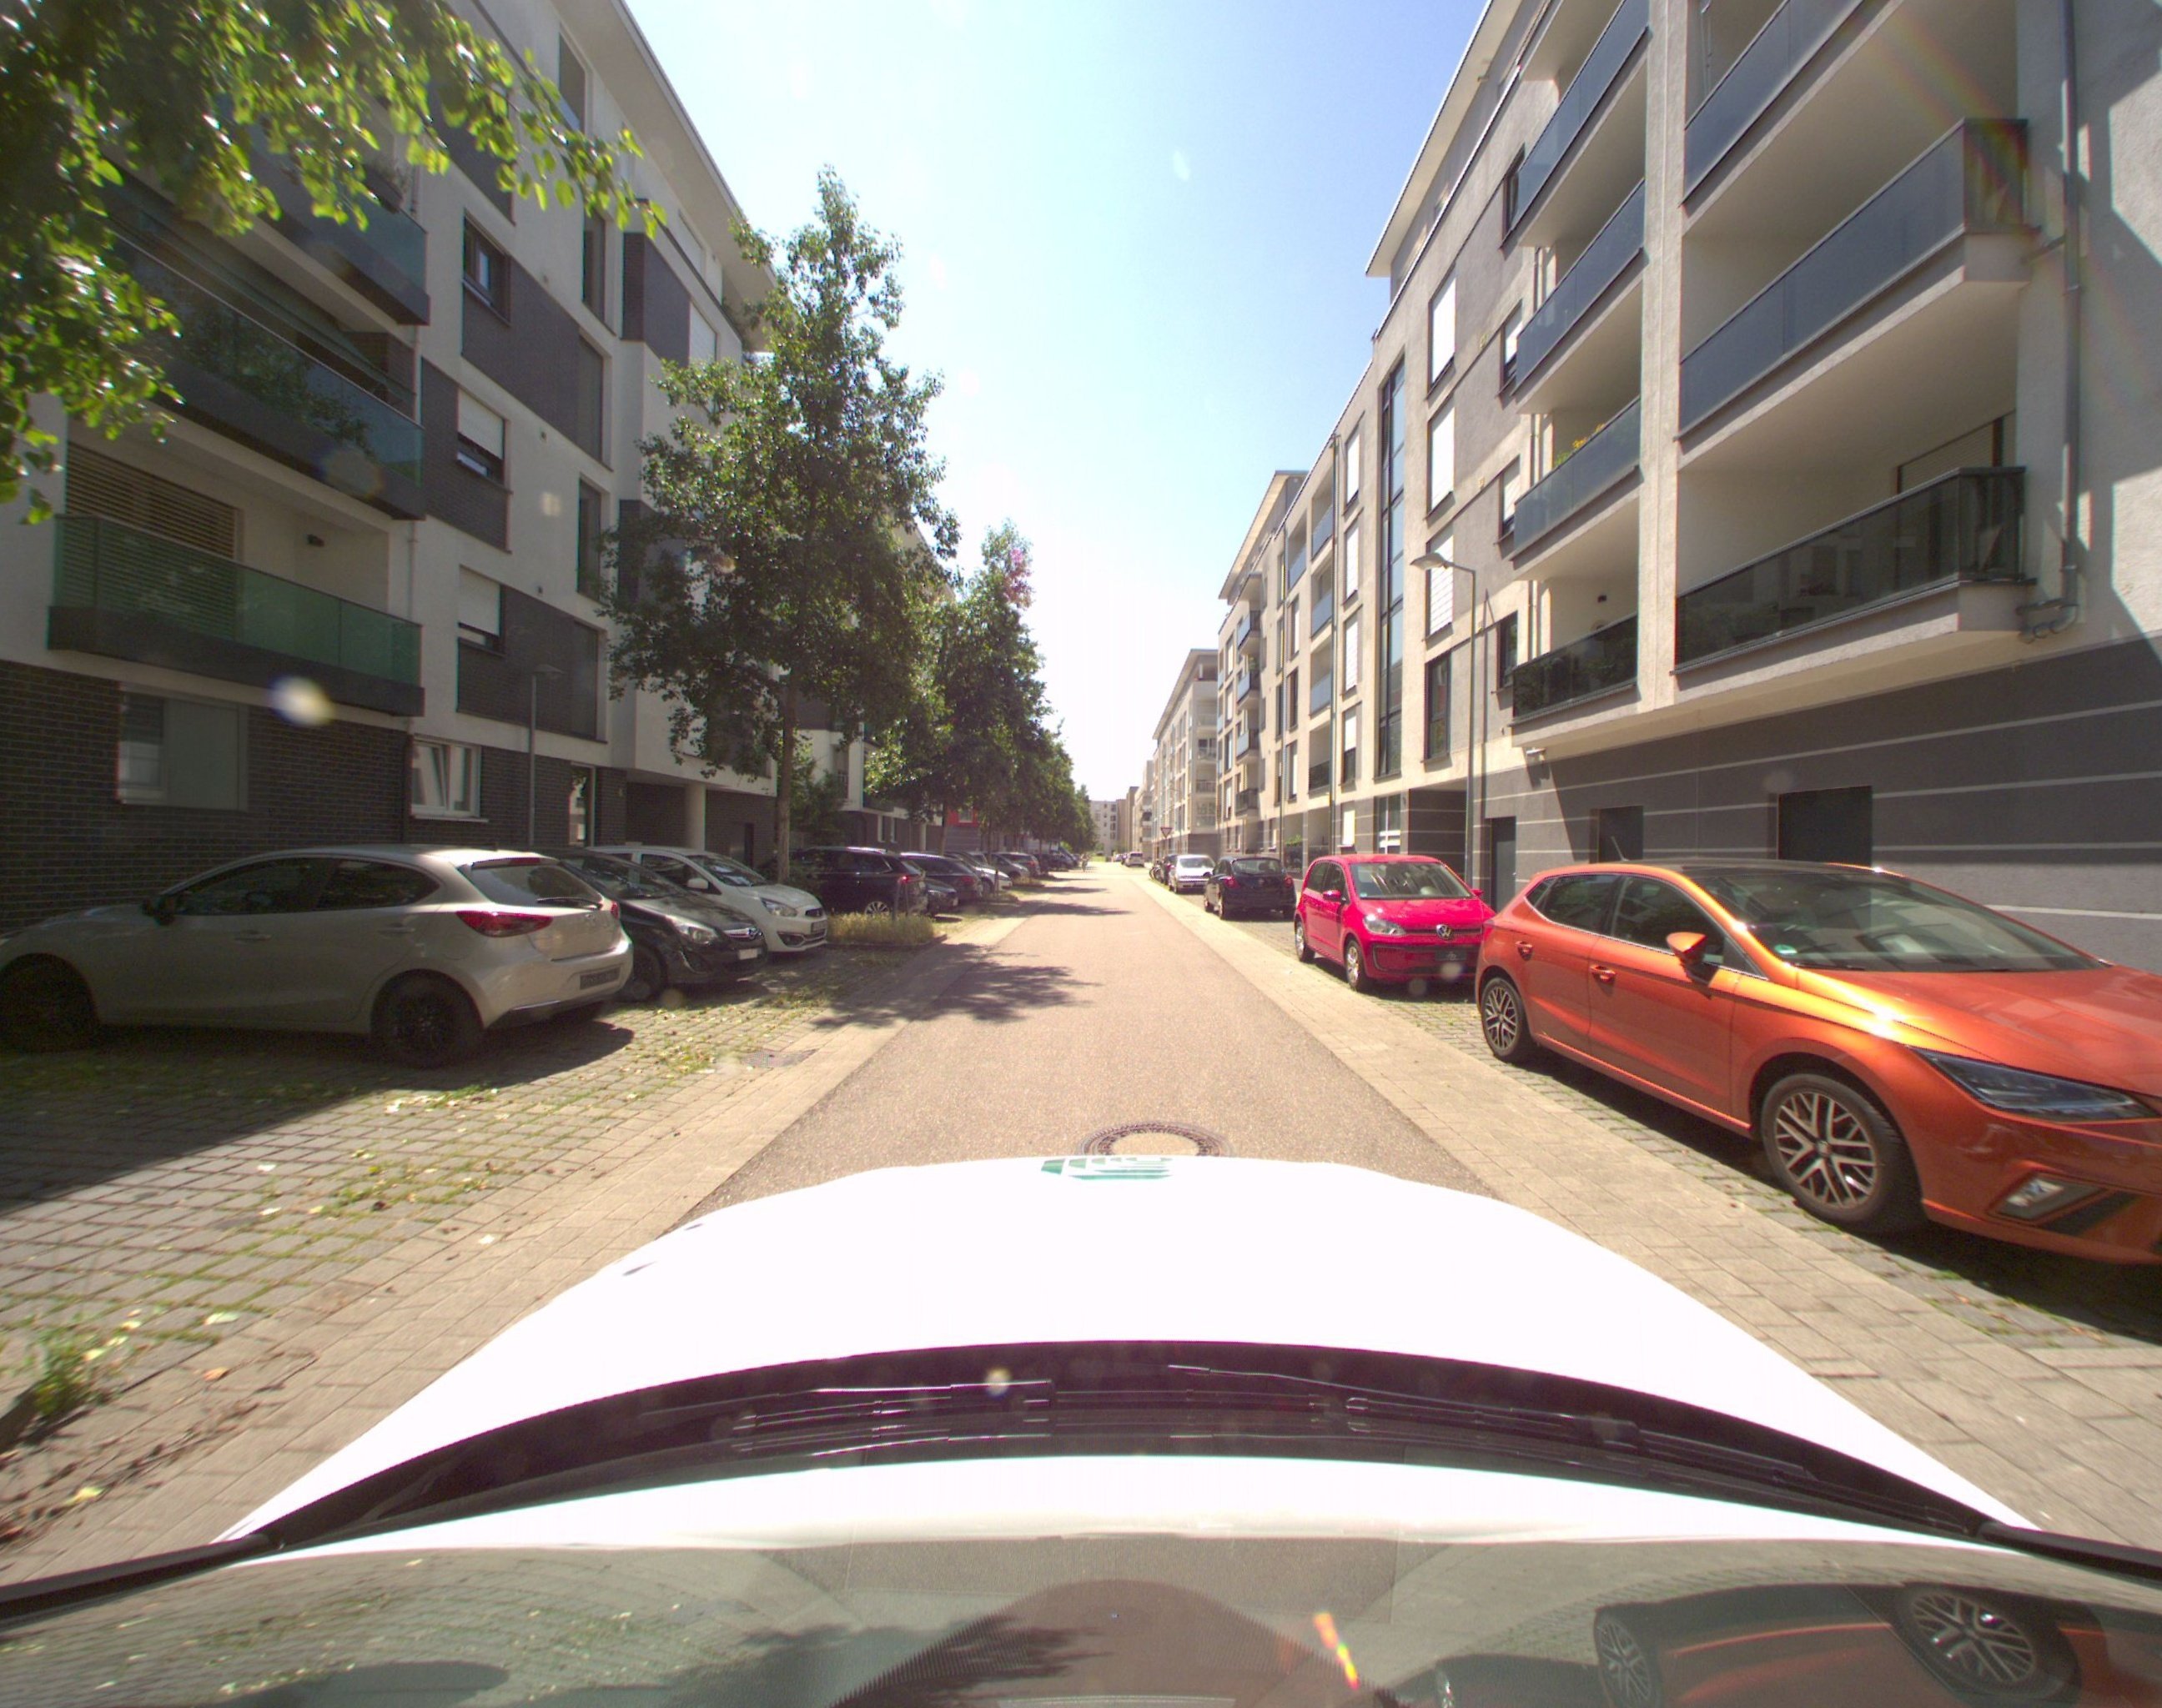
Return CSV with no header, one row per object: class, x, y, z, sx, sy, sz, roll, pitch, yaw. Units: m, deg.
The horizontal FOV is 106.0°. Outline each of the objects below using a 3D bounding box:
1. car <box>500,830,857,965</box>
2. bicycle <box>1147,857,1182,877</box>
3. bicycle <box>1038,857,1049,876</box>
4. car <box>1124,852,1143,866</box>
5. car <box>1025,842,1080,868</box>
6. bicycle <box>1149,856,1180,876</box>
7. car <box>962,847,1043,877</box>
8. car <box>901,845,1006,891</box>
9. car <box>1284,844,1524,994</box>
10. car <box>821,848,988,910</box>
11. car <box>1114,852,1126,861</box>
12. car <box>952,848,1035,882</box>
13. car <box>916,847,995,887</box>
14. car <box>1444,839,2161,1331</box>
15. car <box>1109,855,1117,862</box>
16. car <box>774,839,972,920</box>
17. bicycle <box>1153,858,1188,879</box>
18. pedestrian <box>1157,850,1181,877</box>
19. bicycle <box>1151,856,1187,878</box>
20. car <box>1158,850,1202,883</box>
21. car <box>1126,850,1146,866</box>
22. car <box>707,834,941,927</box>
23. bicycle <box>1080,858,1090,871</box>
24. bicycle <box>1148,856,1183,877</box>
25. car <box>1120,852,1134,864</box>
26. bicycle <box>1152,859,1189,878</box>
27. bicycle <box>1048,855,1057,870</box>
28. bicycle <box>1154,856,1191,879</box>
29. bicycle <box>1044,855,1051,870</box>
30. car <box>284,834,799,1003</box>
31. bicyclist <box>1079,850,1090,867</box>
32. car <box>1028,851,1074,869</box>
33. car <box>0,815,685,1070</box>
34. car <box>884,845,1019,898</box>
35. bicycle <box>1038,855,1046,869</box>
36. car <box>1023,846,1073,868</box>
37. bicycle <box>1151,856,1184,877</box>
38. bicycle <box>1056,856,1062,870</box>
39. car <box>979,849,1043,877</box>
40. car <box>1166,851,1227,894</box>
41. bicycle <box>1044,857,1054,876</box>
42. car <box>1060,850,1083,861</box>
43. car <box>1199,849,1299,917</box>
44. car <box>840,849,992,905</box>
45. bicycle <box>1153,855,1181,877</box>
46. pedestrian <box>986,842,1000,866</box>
car,-5.429,0.550,11.381,3.972,1.591,1.884,2,0,1
bicycle,4.768,0.731,46.306,1.911,1.133,0.611,-1,0,10
bicycle,-2.369,0.783,51.332,0.434,1.128,1.971,0,0,-10
car,5.966,0.541,92.753,1.986,1.524,4.002,0,0,2
car,-3.211,0.094,92.613,6.002,2.816,2.606,0,0,1
bicycle,4.940,0.711,48.302,1.851,1.193,0.688,-1,0,4
car,-4.197,0.422,43.952,4.170,1.486,1.957,1,-1,-3
car,-4.769,0.512,30.890,3.701,1.586,1.818,2,0,-4
car,3.747,0.656,10.133,1.589,1.485,3.677,-1,0,2
car,-4.508,0.634,21.317,3.965,1.445,1.774,2,0,-3
car,7.426,0.461,155.718,1.987,1.675,4.000,0,0,0
car,-4.370,0.531,41.054,3.924,1.553,1.872,2,0,0
car,-5.193,0.517,33.900,2.923,1.500,1.848,3,0,0
car,3.813,0.688,4.595,1.731,1.487,4.260,-1,0,2
car,7.757,1.088,197.018,1.987,1.519,4.000,0,0,0
car,-4.693,0.558,18.809,3.971,1.651,1.920,2,0,3
bicycle,4.838,0.752,43.999,1.782,1.104,0.746,-1,0,-3
pedestrian,4.893,0.529,45.482,1.178,1.515,0.686,-1,0,-9
bicycle,4.889,0.722,45.355,1.922,1.218,0.459,-1,0,-8
car,4.755,0.571,39.607,1.732,1.485,4.230,-1,0,1
car,5.896,0.431,87.051,1.990,1.657,4.117,0,0,2
car,-5.005,0.495,16.287,3.973,1.629,1.934,2,0,1
bicycle,0.362,0.939,72.810,0.895,1.129,2.040,0,0,1
bicycle,4.882,0.716,46.910,1.911,1.179,0.640,-1,0,10
car,6.068,0.515,107.166,1.749,1.552,4.005,1,0,5
bicycle,4.906,0.797,44.692,1.918,1.035,0.559,-1,0,-3
bicycle,-2.455,0.732,69.853,0.569,1.174,1.765,3,1,-5
bicycle,4.828,0.719,43.252,1.865,1.218,0.715,-1,0,-3
bicycle,-2.887,0.698,69.865,0.432,1.204,1.701,2,1,2
car,-5.553,0.617,8.796,4.301,1.476,1.793,2,0,1
bicyclist,0.313,0.413,72.753,0.950,1.459,0.800,0,0,0
car,-2.908,0.563,79.985,4.367,1.515,2.076,2,0,1
car,-5.739,0.572,6.376,4.238,1.517,1.925,3,0,0
car,-4.433,0.588,28.469,4.348,1.710,1.999,-1,0,-2
bicycle,-3.344,0.683,70.125,0.517,1.204,1.752,2,1,-1
car,-3.482,0.304,87.183,5.127,2.119,2.312,1,0,1
bicycle,4.892,0.705,45.939,1.838,1.148,0.458,-1,0,-18
bicycle,-1.861,0.789,70.063,0.464,1.141,1.925,0,0,-1
car,-4.171,0.516,48.868,3.617,1.520,1.832,2,0,1
car,4.362,0.643,31.290,1.827,1.505,4.352,-1,0,1
bicycle,-2.008,0.756,51.355,0.371,1.180,1.814,0,0,-10
car,-1.694,0.254,151.453,3.965,2.013,2.004,0,0,7
car,3.955,0.626,19.793,1.637,1.462,4.118,-1,0,1
car,-4.767,0.631,23.934,3.971,1.422,1.898,2,0,2
bicycle,5.031,0.701,47.590,1.546,1.218,0.707,-1,0,-1
pedestrian,-7.457,-0.006,68.895,1.004,2.013,1.131,0,0,4
